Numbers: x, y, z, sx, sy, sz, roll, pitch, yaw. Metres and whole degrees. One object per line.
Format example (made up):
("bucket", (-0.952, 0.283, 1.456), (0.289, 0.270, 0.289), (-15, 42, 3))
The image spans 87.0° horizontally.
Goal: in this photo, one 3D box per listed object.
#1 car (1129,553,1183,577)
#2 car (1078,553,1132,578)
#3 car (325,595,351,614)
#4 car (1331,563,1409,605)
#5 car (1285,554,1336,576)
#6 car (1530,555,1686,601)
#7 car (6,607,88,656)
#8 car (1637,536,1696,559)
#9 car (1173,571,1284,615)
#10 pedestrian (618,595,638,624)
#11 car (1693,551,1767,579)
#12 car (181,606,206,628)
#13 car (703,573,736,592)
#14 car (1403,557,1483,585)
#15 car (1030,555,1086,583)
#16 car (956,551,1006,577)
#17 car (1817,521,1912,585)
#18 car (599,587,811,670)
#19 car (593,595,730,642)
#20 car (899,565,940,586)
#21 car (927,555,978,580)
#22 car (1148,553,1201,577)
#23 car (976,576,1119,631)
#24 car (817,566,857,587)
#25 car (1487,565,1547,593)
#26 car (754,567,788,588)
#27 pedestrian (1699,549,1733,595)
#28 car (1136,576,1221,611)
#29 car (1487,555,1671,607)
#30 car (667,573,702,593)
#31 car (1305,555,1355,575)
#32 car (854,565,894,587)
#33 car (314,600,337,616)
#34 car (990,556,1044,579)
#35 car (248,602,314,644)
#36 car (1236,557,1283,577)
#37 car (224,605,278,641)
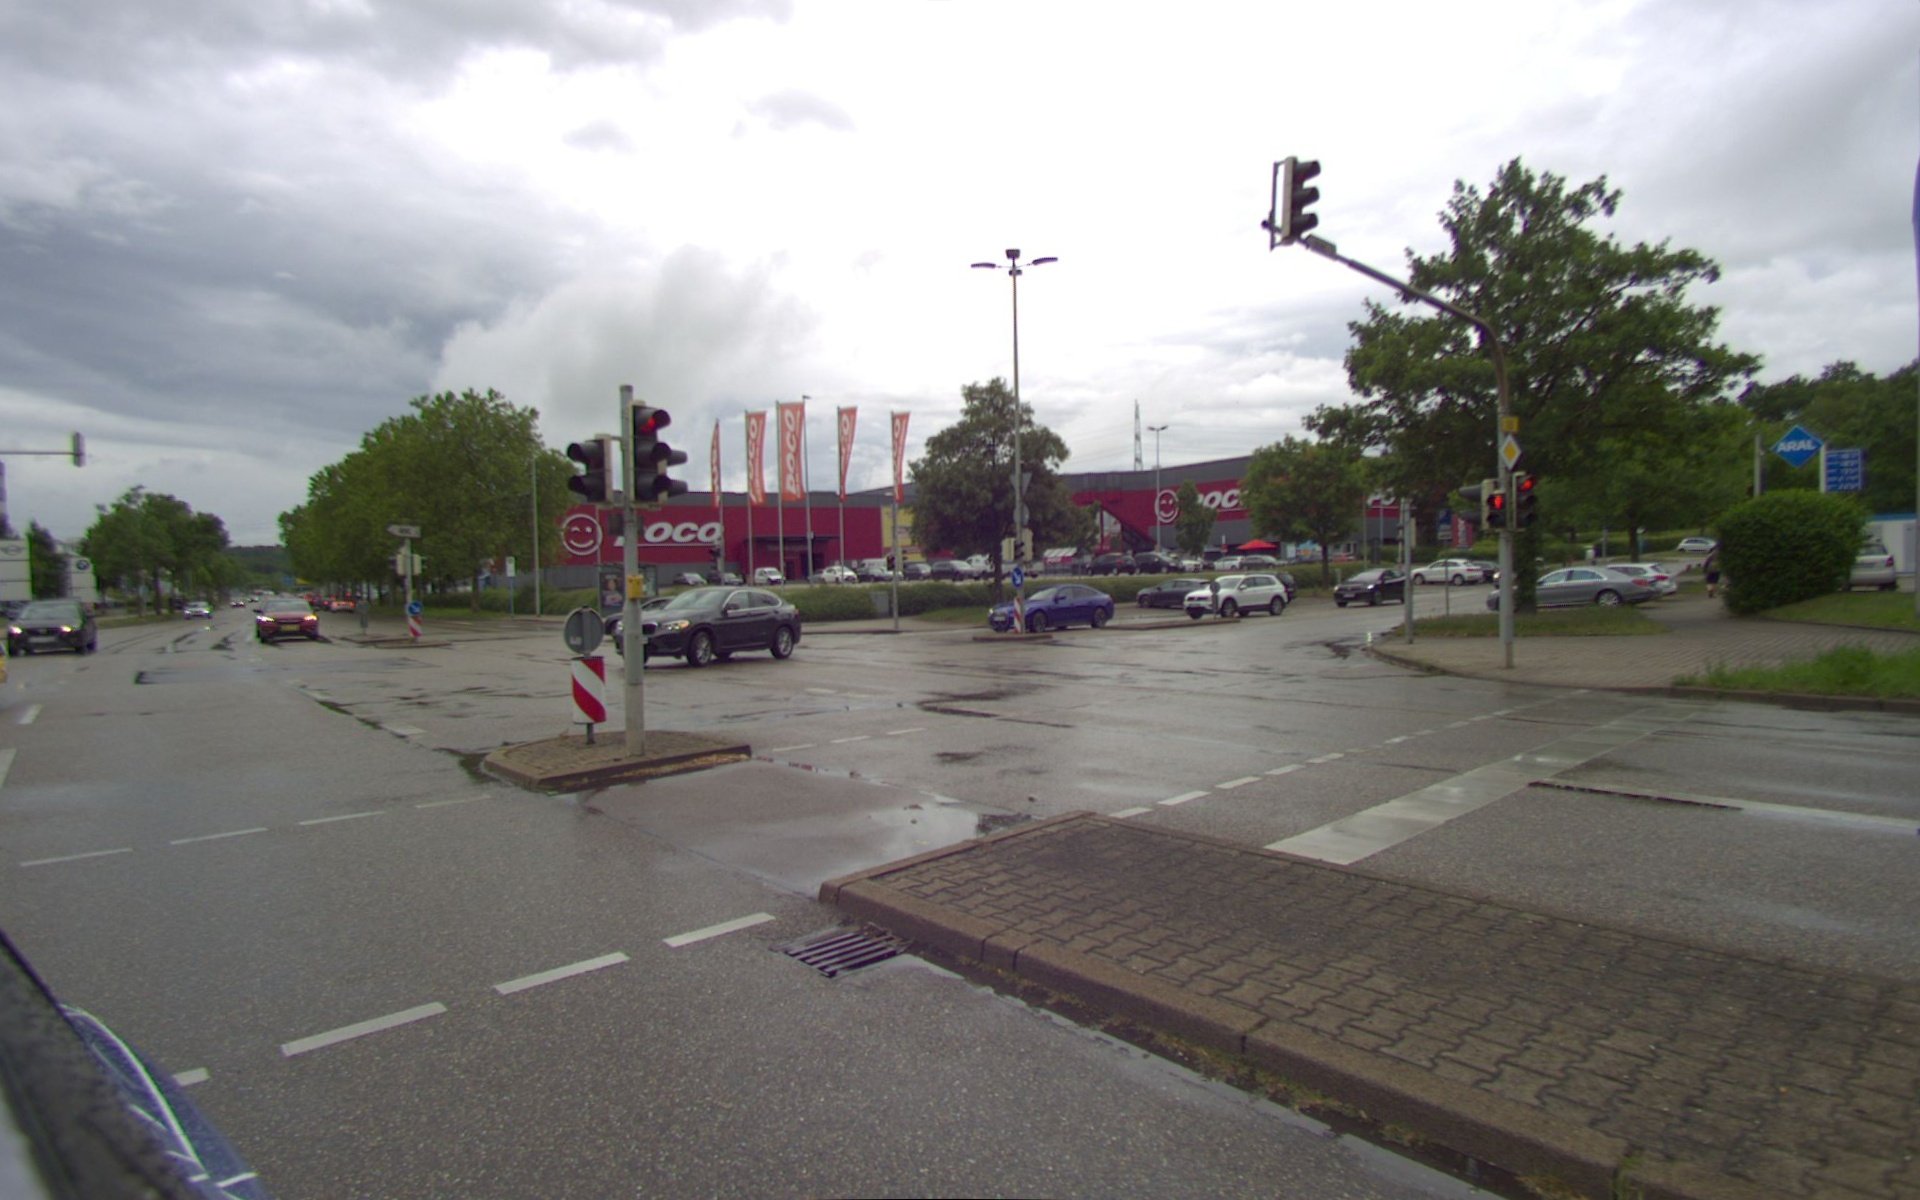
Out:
("car", (14.478, -2.562, 74.832), (1.645, 1.658, 3.837), (-1, 0, -34))
("car", (10.299, -2.459, 72.225), (1.645, 1.658, 3.837), (-1, 0, -34))
("car", (-57.649, 0.429, 93.727), (1.813, 1.601, 4.010), (-1, -1, -35))
("car", (17.976, -0.703, 44.333), (3.483, 1.709, 1.605), (-3, 2, -38))
("car", (29.793, -2.961, 86.019), (1.645, 1.658, 3.837), (-1, 0, -34))
("car", (24.343, -0.800, 38.150), (1.900, 1.601, 4.592), (-2, 0, -43))
("car", (-29.262, 0.989, 32.543), (1.727, 1.475, 4.007), (1, -1, -39))
("car", (63.624, -4.699, 91.152), (1.828, 1.807, 4.004), (-1, 0, -42))
("car", (10.150, -0.234, 38.184), (3.933, 1.565, 1.907), (0, -2, -34))
("pedestrian", (-17.013, 0.494, 51.818), (0.769, 1.442, 0.642), (0, -1, -39))
("car", (48.865, -2.203, 64.282), (1.591, 1.667, 3.476), (-1, 1, -41))
("car", (-64.031, 1.428, 84.546), (1.595, 1.741, 3.686), (-1, 0, -37))
("car", (-22.514, -1.589, 94.504), (1.669, 1.658, 3.973), (-1, 0, -34))
("car", (30.865, -1.821, 64.721), (1.658, 1.621, 4.294), (-1, 0, -39))
("car", (8.807, -2.819, 91.809), (1.796, 2.321, 5.662), (-1, 0, -34))
("car", (1.498, -2.574, 72.947), (1.605, 1.658, 3.837), (-1, 0, -34))
("car", (27.584, -1.385, 30.960), (1.811, 1.810, 3.654), (0, 1, 37))
("car", (-5.294, 0.526, 21.669), (1.892, 1.565, 4.551), (-1, 0, 26))
("car", (-9.779, 0.593, 33.275), (3.960, 1.415, 1.782), (-1, 0, 13))
("car", (-3.542, -2.119, 88.422), (1.645, 1.658, 3.973), (-1, 0, -34))
("car", (-0.568, -2.259, 70.837), (1.645, 1.658, 3.837), (-1, 0, -34))
("car", (16.269, -2.618, 76.921), (1.645, 1.658, 3.837), (-1, 0, -34))
("car", (2.812, 0.081, 32.045), (4.479, 1.645, 1.805), (-1, 0, -39))
("car", (-10.347, -1.960, 84.890), (1.645, 1.658, 3.973), (-1, 0, -34))
("car", (30.722, -1.180, 55.799), (3.615, 1.467, 1.706), (-1, 0, -40))
("car", (-18.329, -2.155, 98.023), (1.762, 1.940, 3.759), (-1, 0, -36))
("pedestrian", (28.164, -1.028, 37.694), (0.873, 1.674, 0.812), (-1, 0, -41))
("car", (10.367, -0.307, 48.243), (1.659, 1.565, 3.665), (-2, 0, -42))
("car", (20.656, -0.594, 33.947), (1.970, 1.560, 4.907), (-1, 0, -43))
("car", (-23.902, -1.478, 87.646), (1.669, 1.658, 3.973), (-1, 0, -34))
("car", (31.994, -3.019, 87.647), (1.645, 1.658, 3.837), (-1, 0, -34))
("car", (-7.318, -2.023, 85.823), (1.645, 1.658, 3.973), (-1, 0, -34))
("car", (-66.189, 0.872, 105.509), (1.813, 1.600, 4.010), (-1, 0, -35))
("car", (3.890, -2.226, 69.714), (1.645, 1.391, 3.919), (-1, 0, -34))
("car", (-25.692, 0.854, 38.252), (1.691, 1.475, 4.007), (1, -1, -39))
("car", (26.824, -2.970, 90.599), (1.645, 1.658, 3.837), (-1, 0, -34))
("car", (-30.031, 0.921, 42.834), (1.670, 1.407, 3.710), (-1, 1, -37))
